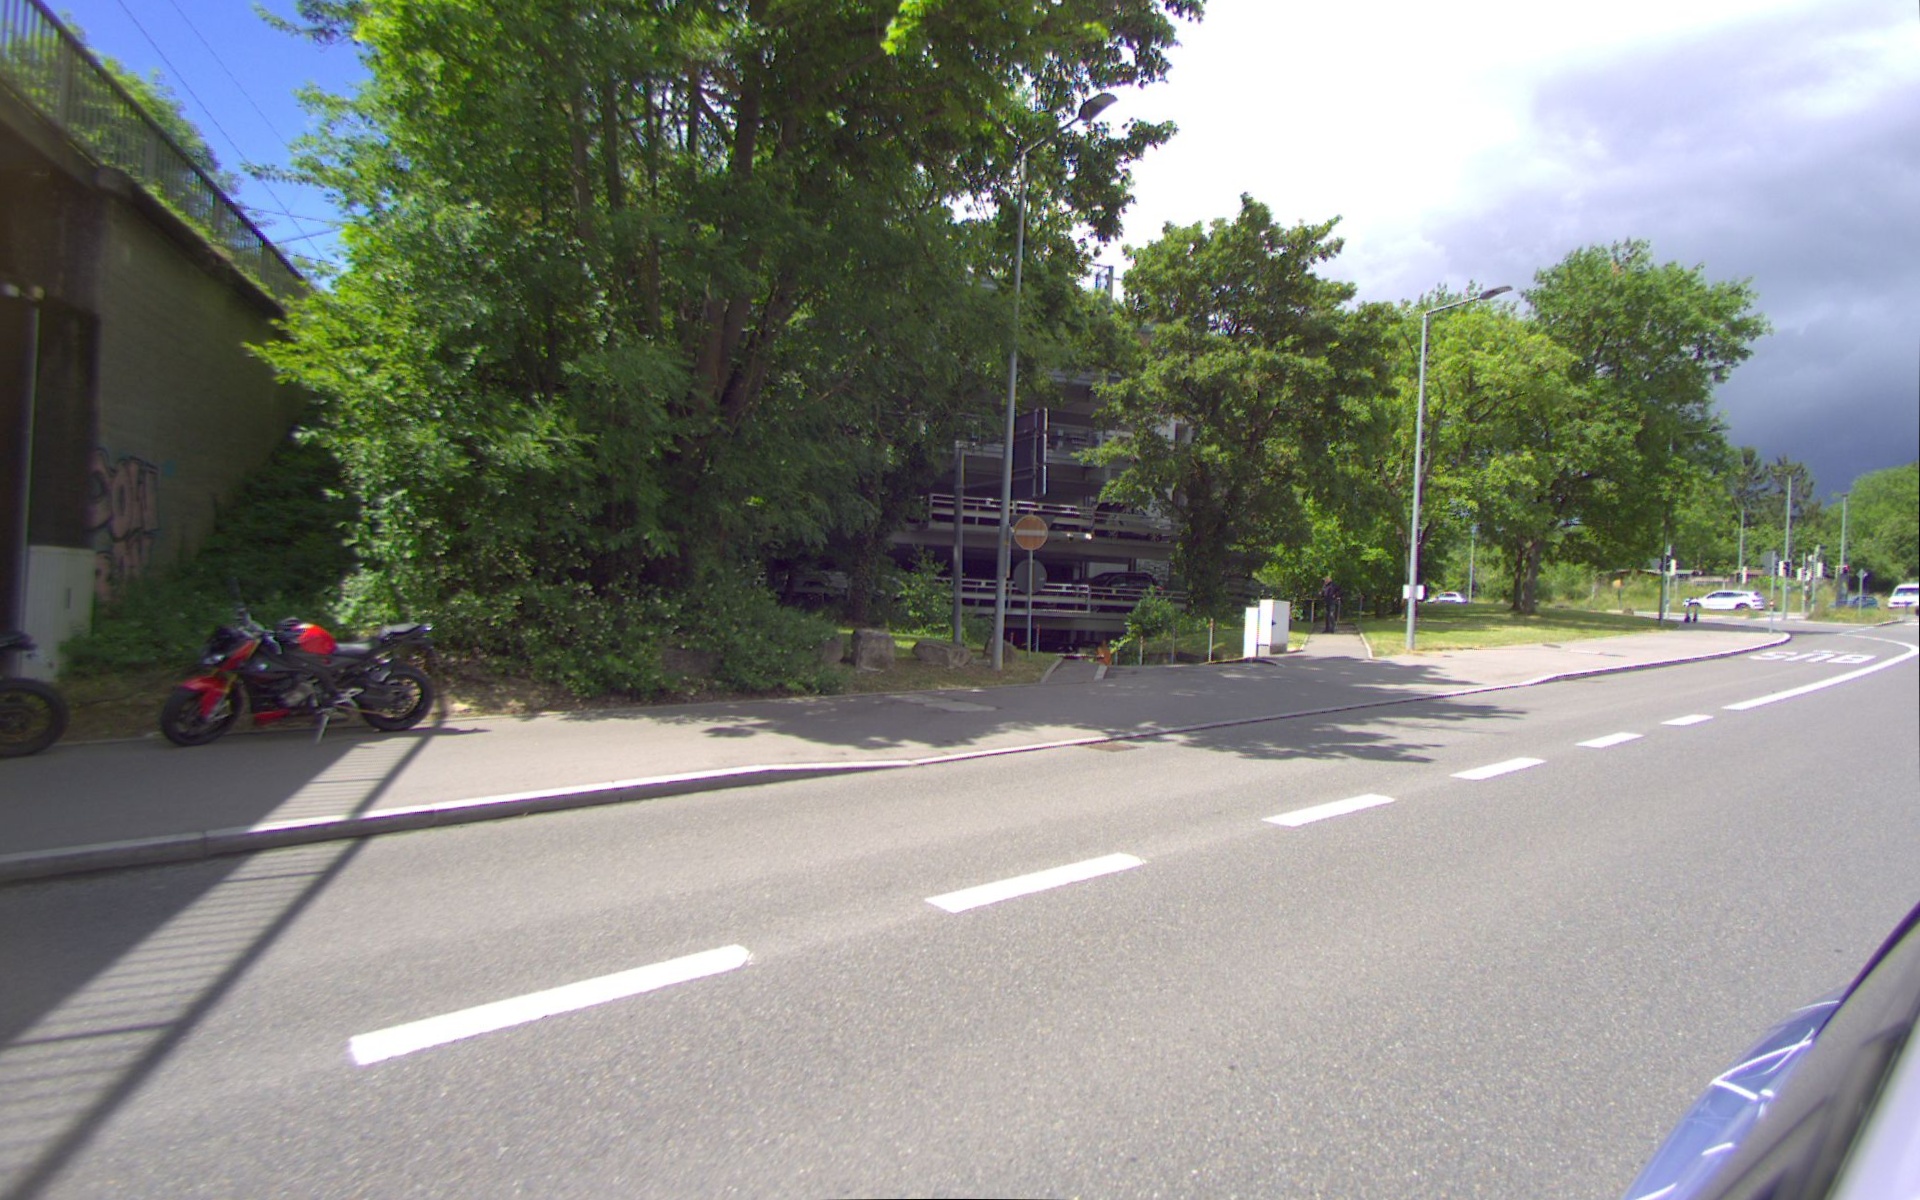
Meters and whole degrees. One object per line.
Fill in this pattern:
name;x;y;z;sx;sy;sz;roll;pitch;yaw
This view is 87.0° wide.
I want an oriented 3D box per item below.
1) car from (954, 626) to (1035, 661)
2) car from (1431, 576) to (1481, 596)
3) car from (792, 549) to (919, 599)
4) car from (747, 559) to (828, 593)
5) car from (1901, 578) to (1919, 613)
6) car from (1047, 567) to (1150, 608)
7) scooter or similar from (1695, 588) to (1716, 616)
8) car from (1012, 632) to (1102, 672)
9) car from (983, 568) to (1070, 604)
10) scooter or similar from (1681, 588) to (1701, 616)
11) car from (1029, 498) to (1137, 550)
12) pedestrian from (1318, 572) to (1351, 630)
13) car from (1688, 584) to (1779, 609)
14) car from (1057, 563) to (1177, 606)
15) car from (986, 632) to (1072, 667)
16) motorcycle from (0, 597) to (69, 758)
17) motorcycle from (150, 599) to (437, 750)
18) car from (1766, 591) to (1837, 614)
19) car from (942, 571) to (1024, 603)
car;1.698;2.114;49.643;3.548;1.543;1.774;0;1;-23
car;41.624;-1.170;84.954;3.508;1.479;1.562;2;-2;40
car;-3.667;-0.873;35.457;4.052;1.491;1.780;3;-1;-20
car;-8.291;-1.133;48.553;3.547;1.560;1.761;0;1;-21
car;75.301;-0.317;78.519;5.713;2.684;2.166;0;1;-34
car;5.650;-0.489;41.378;3.718;1.491;1.780;3;-1;-20
scooter or similar;35.701;0.083;48.463;0.529;1.279;1.179;3;2;27
car;4.177;2.221;43.667;3.547;1.543;1.584;0;1;-21
car;2.977;-0.634;45.643;3.547;1.543;1.637;0;1;-21
scooter or similar;34.482;0.076;47.751;0.529;1.279;1.179;3;2;27
car;5.002;-3.051;41.184;3.916;1.816;1.940;1;0;-21
pedestrian;11.694;0.039;31.623;0.762;1.740;0.588;4;-2;11
car;54.381;-0.282;71.202;1.704;1.679;4.892;1;1;-42
car;6.065;-0.599;39.145;4.299;1.615;1.660;0;1;-20
car;3.142;2.232;45.918;3.547;1.430;1.591;0;1;-21
motorcycle;-7.473;0.559;6.975;1.984;1.124;0.548;-1;2;-43
motorcycle;-5.608;0.568;8.614;1.984;1.124;0.548;-1;2;-43
car;64.092;0.151;77.087;4.355;1.657;1.915;0;1;-14
car;1.113;-0.629;49.352;3.548;1.543;1.774;0;1;-23
